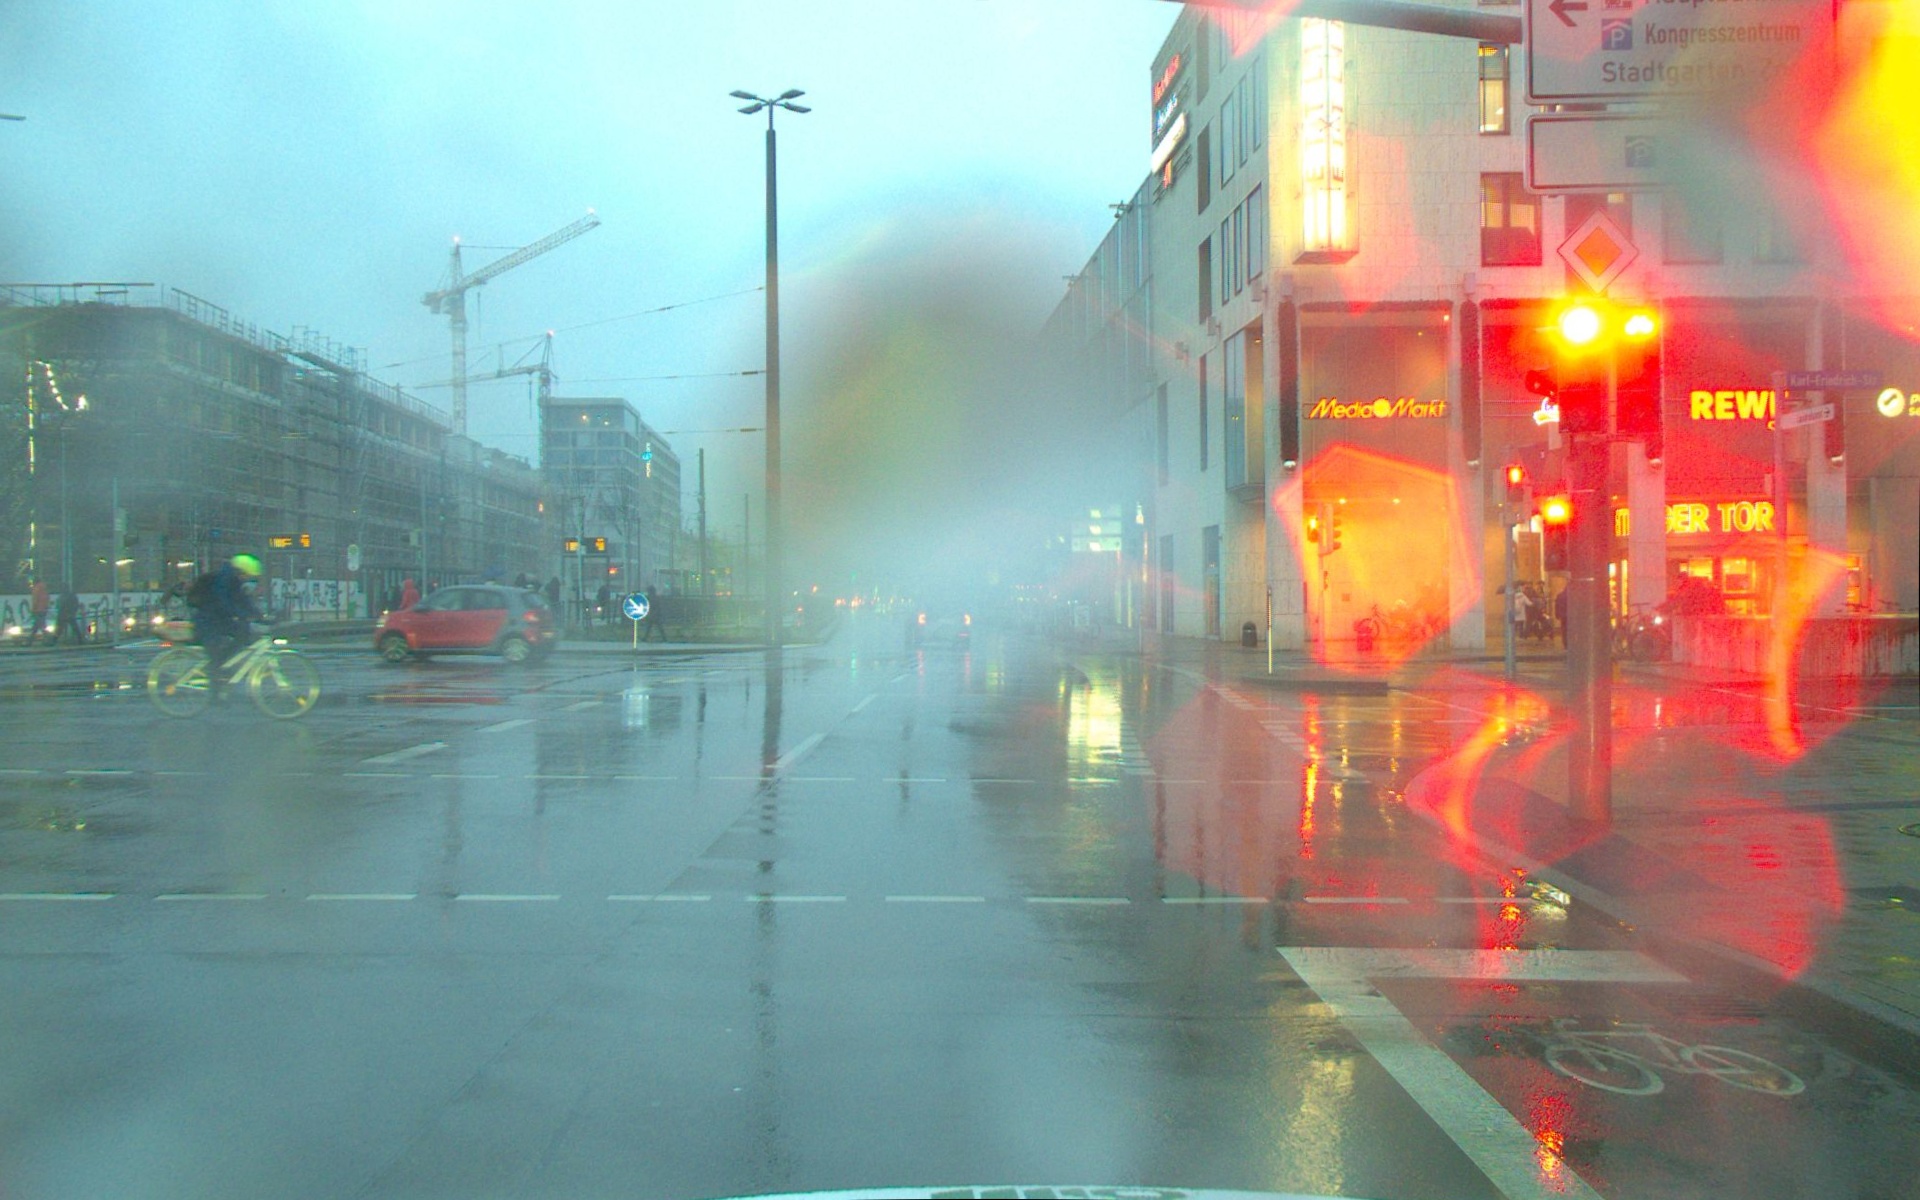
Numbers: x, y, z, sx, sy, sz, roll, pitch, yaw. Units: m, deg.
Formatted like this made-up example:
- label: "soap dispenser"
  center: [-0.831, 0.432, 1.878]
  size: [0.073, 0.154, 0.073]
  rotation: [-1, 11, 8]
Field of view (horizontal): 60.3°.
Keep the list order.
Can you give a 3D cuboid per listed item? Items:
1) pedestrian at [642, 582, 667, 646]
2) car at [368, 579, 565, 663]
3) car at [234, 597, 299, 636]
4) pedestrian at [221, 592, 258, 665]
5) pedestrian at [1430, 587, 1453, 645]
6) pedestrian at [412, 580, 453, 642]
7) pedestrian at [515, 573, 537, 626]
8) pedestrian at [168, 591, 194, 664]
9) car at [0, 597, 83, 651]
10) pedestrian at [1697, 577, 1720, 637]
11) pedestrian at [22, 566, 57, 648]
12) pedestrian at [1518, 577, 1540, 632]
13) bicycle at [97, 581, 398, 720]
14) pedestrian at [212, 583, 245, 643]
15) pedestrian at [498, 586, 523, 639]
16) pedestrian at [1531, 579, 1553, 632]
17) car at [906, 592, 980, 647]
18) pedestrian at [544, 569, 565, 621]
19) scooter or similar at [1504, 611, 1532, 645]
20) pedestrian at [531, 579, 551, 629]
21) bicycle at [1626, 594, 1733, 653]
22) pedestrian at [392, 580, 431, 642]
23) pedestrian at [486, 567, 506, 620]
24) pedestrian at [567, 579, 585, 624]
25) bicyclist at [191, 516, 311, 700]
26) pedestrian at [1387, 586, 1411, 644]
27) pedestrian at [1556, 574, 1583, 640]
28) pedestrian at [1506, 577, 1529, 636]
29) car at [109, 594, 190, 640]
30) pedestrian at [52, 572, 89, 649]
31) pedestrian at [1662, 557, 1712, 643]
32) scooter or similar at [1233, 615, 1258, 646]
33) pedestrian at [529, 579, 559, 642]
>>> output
- label: "pedestrian"
  center: [-8.789, 0.401, 47.528]
  size: [0.620, 1.803, 0.483]
  rotation: [-1, 0, -2]
- label: "car"
  center: [-10.022, 0.434, 33.755]
  size: [3.495, 1.610, 1.676]
  rotation: [-1, -1, 0]
- label: "car"
  center: [-37.954, 0.870, 90.578]
  size: [1.953, 2.049, 3.998]
  rotation: [-1, 0, -2]
- label: "pedestrian"
  center: [-20.534, 0.800, 47.143]
  size: [0.778, 2.049, 0.745]
  rotation: [-1, 0, -11]
- label: "pedestrian"
  center: [14.547, 0.481, 49.982]
  size: [0.526, 1.748, 0.500]
  rotation: [-1, 0, 37]
- label: "pedestrian"
  center: [-14.811, 0.302, 46.445]
  size: [0.826, 1.718, 0.677]
  rotation: [-1, 0, 23]
- label: "pedestrian"
  center: [-14.783, -0.026, 56.309]
  size: [0.648, 1.776, 0.734]
  rotation: [-1, 0, -11]
- label: "pedestrian"
  center: [-22.169, 0.770, 47.074]
  size: [0.498, 2.049, 0.638]
  rotation: [0, 0, -11]
- label: "car"
  center: [-37.110, 0.942, 66.341]
  size: [1.954, 2.049, 3.996]
  rotation: [-1, 0, -4]
- label: "pedestrian"
  center: [22.434, 0.219, 49.576]
  size: [0.501, 1.791, 0.374]
  rotation: [-1, 0, 6]
- label: "pedestrian"
  center: [-24.155, 0.174, 43.385]
  size: [0.682, 2.124, 0.604]
  rotation: [0, 0, -41]
- label: "pedestrian"
  center: [18.277, 0.144, 53.109]
  size: [0.526, 1.748, 0.500]
  rotation: [-1, 0, 37]
- label: "bicycle"
  center: [-7.463, 0.533, 17.446]
  size: [2.779, 1.386, 0.719]
  rotation: [1, -1, -10]
- label: "pedestrian"
  center: [-20.429, 0.357, 46.193]
  size: [0.694, 1.647, 0.679]
  rotation: [-1, 0, -10]
- label: "pedestrian"
  center: [-14.149, 0.377, 52.059]
  size: [0.599, 1.647, 0.708]
  rotation: [-1, 0, -5]
- label: "pedestrian"
  center: [19.260, 0.181, 54.746]
  size: [0.526, 1.748, 0.500]
  rotation: [-1, 0, 37]
- label: "car"
  center: [-0.561, 0.570, 50.225]
  size: [1.935, 1.557, 3.996]
  rotation: [-1, 0, -5]
- label: "pedestrian"
  center: [-13.930, -0.160, 56.771]
  size: [0.607, 1.776, 0.612]
  rotation: [-1, 0, -6]
- label: "scooter or similar"
  center: [16.756, 0.827, 49.671]
  size: [0.726, 1.011, 0.400]
  rotation: [-1, 0, 0]
- label: "pedestrian"
  center: [-14.981, 0.141, 59.107]
  size: [0.599, 1.776, 0.620]
  rotation: [-1, 0, -6]
- label: "bicycle"
  center: [13.842, 0.454, 31.858]
  size: [1.806, 1.112, 0.618]
  rotation: [-1, 0, 14]
- label: "pedestrian"
  center: [-15.229, 0.306, 45.888]
  size: [0.814, 1.709, 0.619]
  rotation: [-1, 0, 26]
- label: "pedestrian"
  center: [-15.783, -0.212, 56.252]
  size: [0.600, 1.776, 0.619]
  rotation: [-1, 0, -11]
- label: "pedestrian"
  center: [-15.034, 0.056, 64.786]
  size: [0.648, 1.776, 0.619]
  rotation: [-1, 0, -11]
- label: "bicyclist"
  center: [-7.452, 0.090, 17.423]
  size: [0.975, 1.871, 0.719]
  rotation: [1, -1, -10]
- label: "pedestrian"
  center: [13.305, 0.465, 50.113]
  size: [0.526, 1.748, 0.500]
  rotation: [-1, 0, 37]
- label: "pedestrian"
  center: [15.855, 0.185, 43.017]
  size: [0.526, 1.715, 0.547]
  rotation: [-1, 0, 37]
- label: "pedestrian"
  center: [16.698, 0.197, 49.529]
  size: [0.526, 1.748, 0.500]
  rotation: [-1, 0, 37]
- label: "car"
  center: [-37.931, 0.773, 77.473]
  size: [1.954, 2.049, 3.998]
  rotation: [-1, 0, -3]
- label: "pedestrian"
  center: [-23.707, 0.278, 44.073]
  size: [0.770, 2.049, 0.604]
  rotation: [-1, 0, -39]
- label: "pedestrian"
  center: [13.993, 0.005, 31.834]
  size: [0.764, 1.623, 0.613]
  rotation: [-1, 0, 14]
- label: "scooter or similar"
  center: [8.869, 0.938, 51.396]
  size: [0.726, 0.932, 0.400]
  rotation: [-1, 0, 0]
- label: "pedestrian"
  center: [-11.936, 0.293, 47.472]
  size: [0.688, 1.791, 0.652]
  rotation: [-1, 0, -1]
